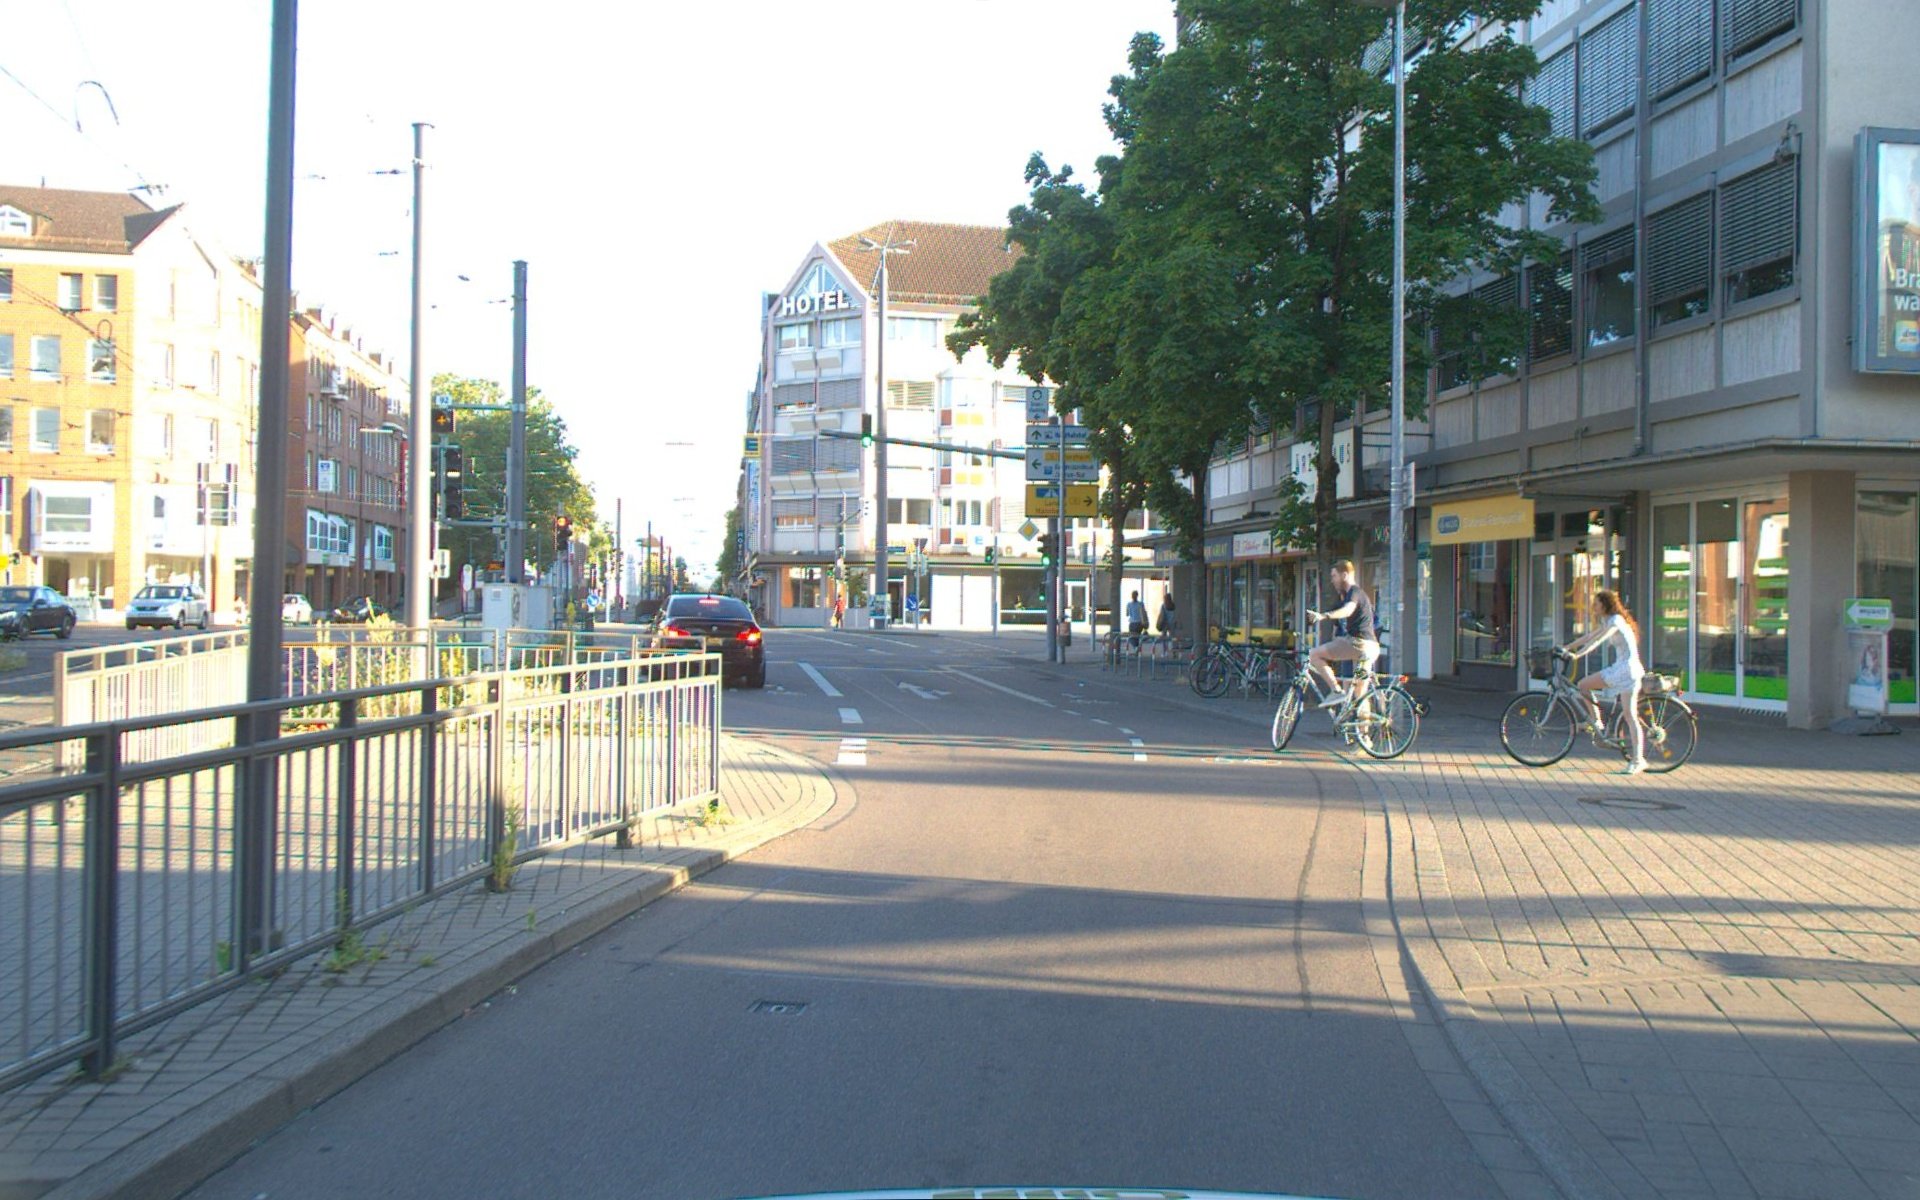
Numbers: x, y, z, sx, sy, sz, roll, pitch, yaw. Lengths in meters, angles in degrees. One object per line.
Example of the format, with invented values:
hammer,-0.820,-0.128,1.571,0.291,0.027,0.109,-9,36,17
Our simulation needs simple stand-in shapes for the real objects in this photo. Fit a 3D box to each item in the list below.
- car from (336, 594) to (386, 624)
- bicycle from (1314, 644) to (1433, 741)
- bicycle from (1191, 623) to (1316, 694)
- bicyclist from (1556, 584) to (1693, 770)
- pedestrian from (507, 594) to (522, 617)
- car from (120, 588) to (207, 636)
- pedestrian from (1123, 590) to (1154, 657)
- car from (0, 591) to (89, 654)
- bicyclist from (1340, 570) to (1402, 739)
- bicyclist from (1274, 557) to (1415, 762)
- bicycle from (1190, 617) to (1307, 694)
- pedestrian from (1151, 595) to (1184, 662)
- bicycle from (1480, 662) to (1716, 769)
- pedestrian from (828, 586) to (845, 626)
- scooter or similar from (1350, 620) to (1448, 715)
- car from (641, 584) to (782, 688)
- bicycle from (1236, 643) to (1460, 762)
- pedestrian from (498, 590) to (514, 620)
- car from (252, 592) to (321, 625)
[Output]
car,-33.480,0.486,92.540,1.958,1.612,4.467,0,0,-11
bicycle,4.614,1.010,18.574,0.457,0.987,1.792,0,0,-16
bicycle,4.782,0.949,27.065,1.954,1.130,0.668,1,0,4
bicyclist,6.117,0.699,15.279,1.088,1.651,0.841,0,-2,15
pedestrian,-32.796,0.386,121.670,0.970,1.710,0.724,0,0,-10
car,-27.694,0.393,57.633,1.960,1.612,4.097,0,0,-14
pedestrian,4.538,0.598,42.024,0.671,1.696,0.670,0,0,-5
car,-24.984,0.561,43.966,1.958,1.612,4.575,0,0,-11
bicyclist,4.606,0.597,18.558,0.457,1.862,0.557,0,0,-17
bicyclist,3.819,0.564,16.459,1.096,1.951,0.834,0,0,45
bicycle,4.880,0.933,28.042,1.864,1.257,0.668,1,0,2
pedestrian,5.318,0.736,42.463,0.709,1.696,0.670,0,0,-5
bicycle,5.870,1.049,15.346,1.963,0.896,0.841,0,-1,15
pedestrian,-5.847,0.278,78.270,0.672,1.887,0.669,1,0,-12
scooter or similar,6.039,0.918,22.773,1.251,1.256,0.337,0,0,34
car,-4.261,0.554,27.842,1.960,1.612,3.985,0,0,-14
bicycle,3.826,0.982,16.438,2.043,1.038,0.834,1,0,45
pedestrian,-32.103,0.350,116.880,0.970,2.049,0.724,2,-1,-10
car,-30.818,0.388,75.775,1.636,1.473,4.199,0,0,-3
